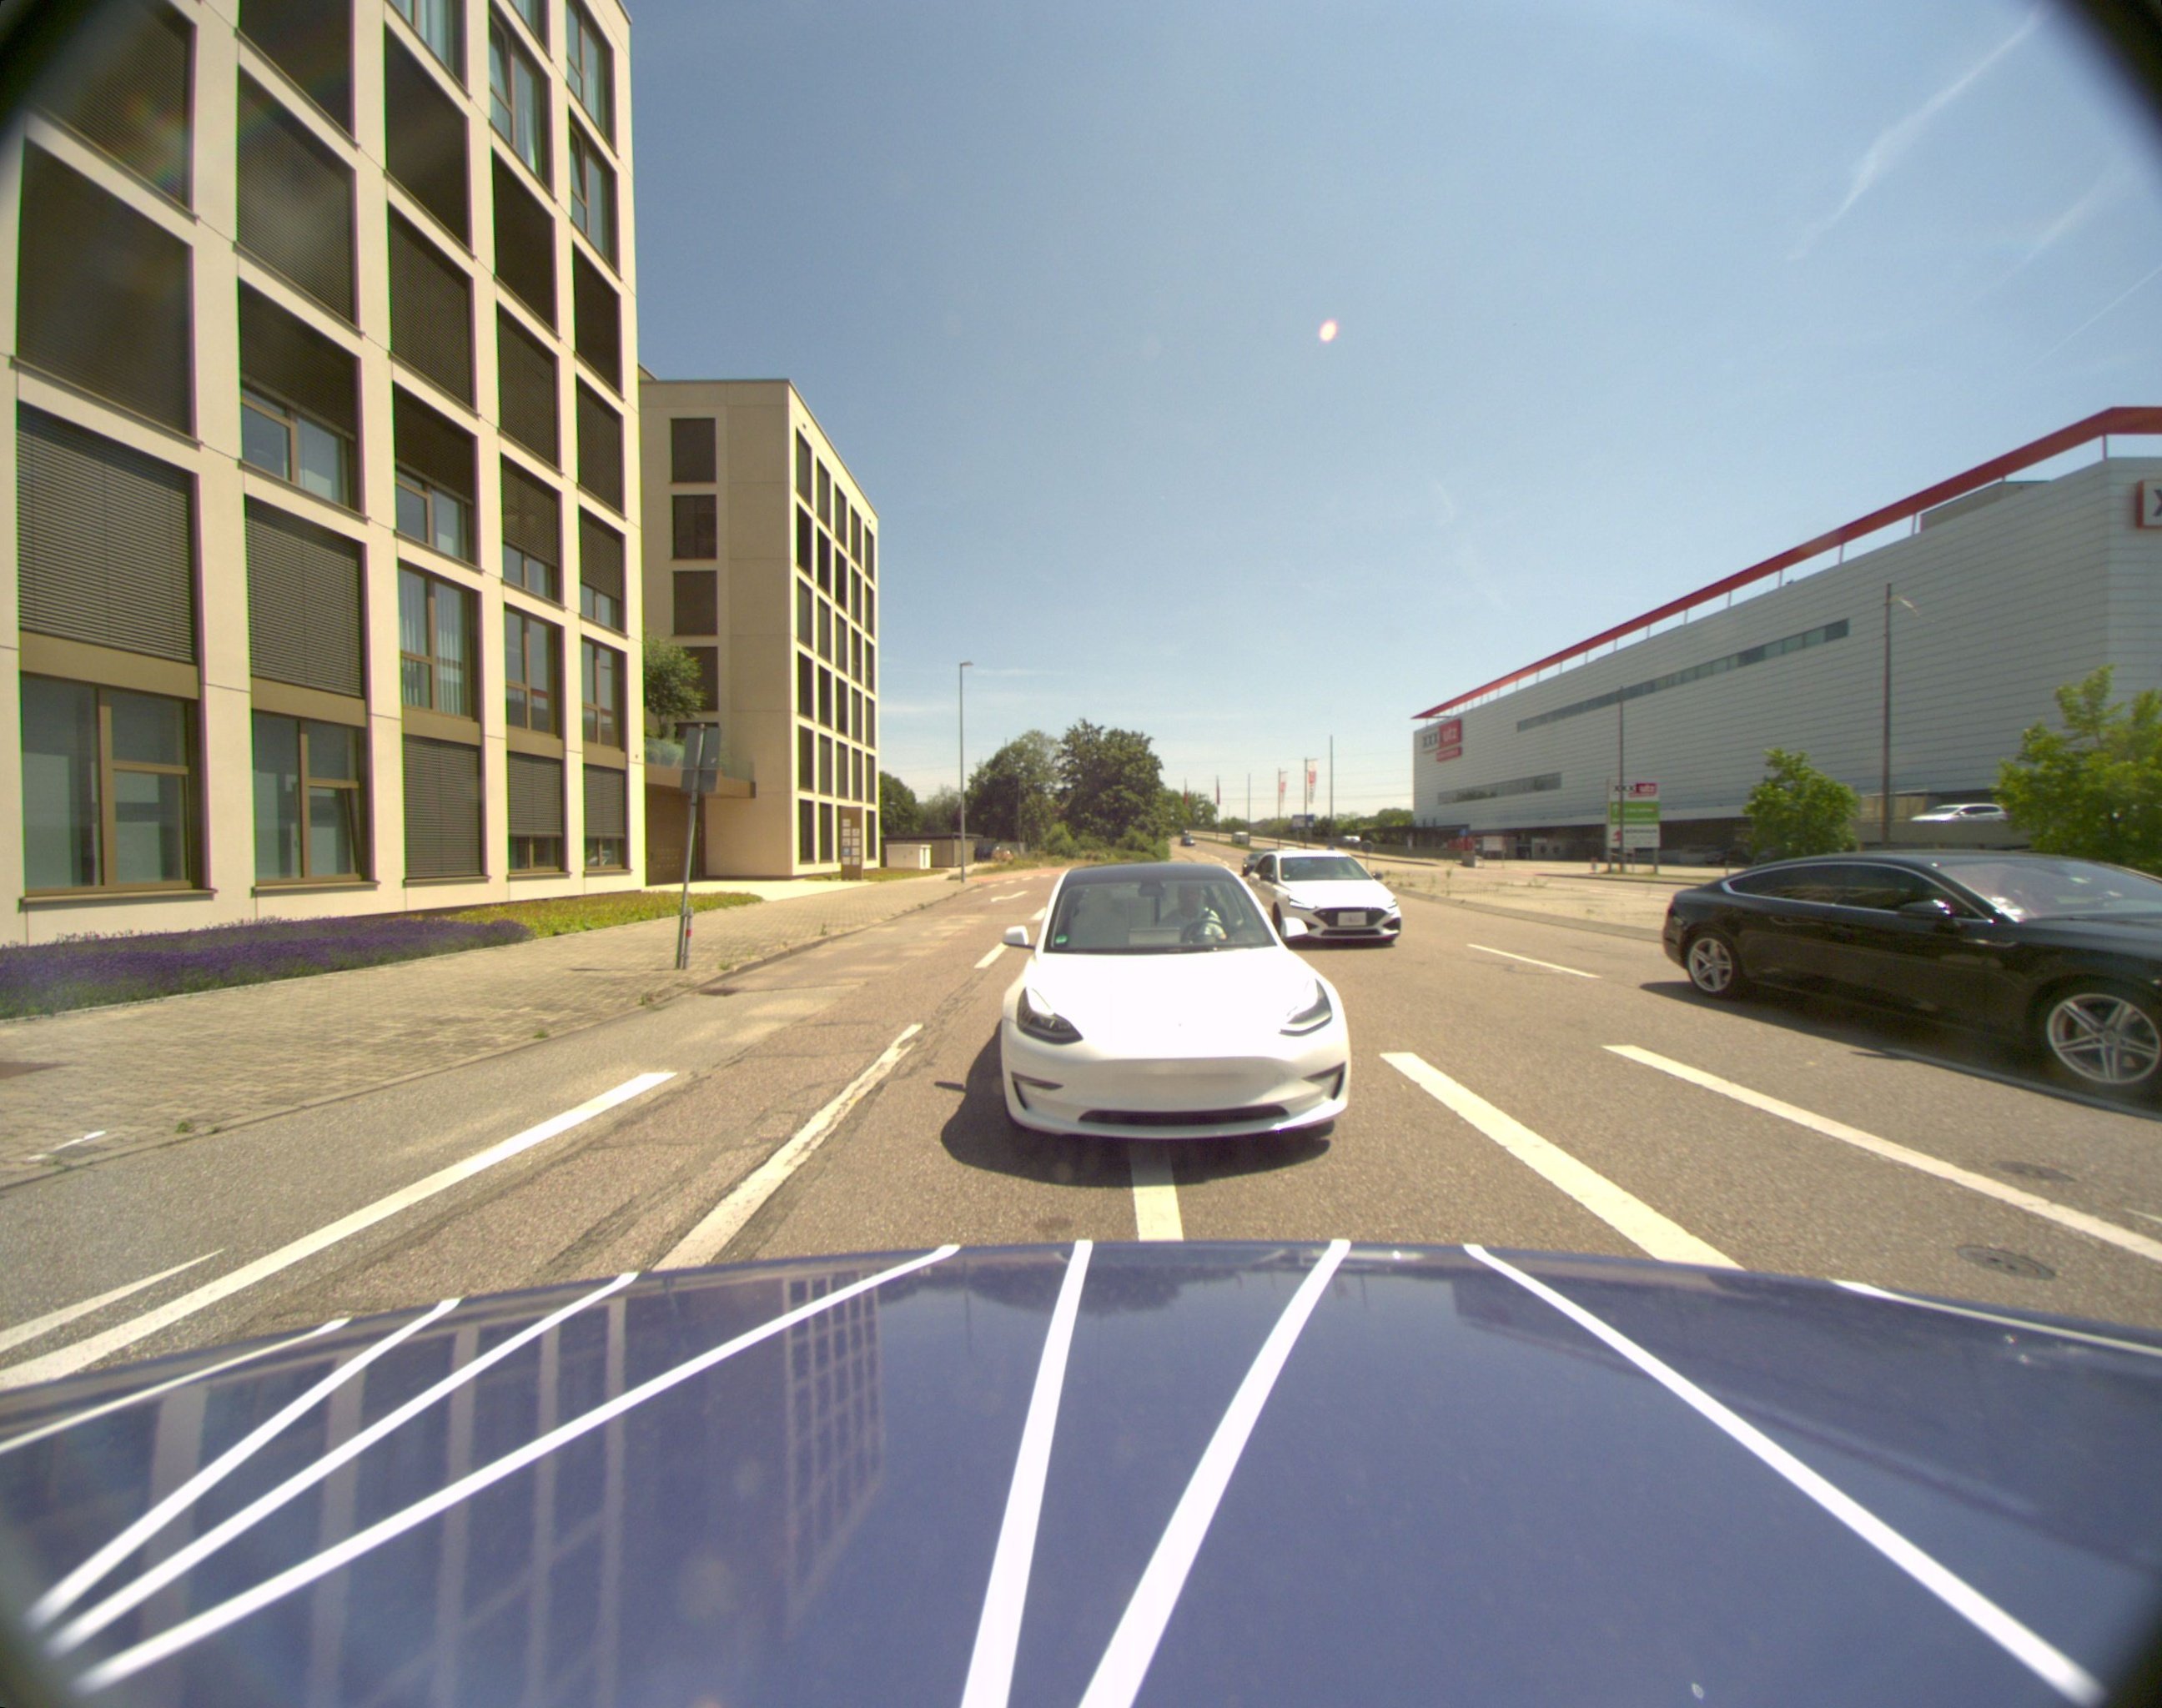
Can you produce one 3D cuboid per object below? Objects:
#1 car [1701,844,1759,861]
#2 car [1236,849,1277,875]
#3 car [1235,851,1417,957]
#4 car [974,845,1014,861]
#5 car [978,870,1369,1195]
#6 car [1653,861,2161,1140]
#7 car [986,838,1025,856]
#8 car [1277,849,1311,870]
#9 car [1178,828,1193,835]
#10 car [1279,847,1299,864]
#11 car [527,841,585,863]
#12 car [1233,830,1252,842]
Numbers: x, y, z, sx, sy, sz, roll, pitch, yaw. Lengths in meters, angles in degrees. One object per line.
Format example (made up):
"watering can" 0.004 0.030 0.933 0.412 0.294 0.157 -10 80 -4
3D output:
"car" 60.935 -0.159 71.394 3.746 1.611 1.912 0 1 1
"car" 10.099 0.429 43.950 1.801 1.369 4.408 0 1 6
"car" 3.908 0.702 12.885 1.735 1.441 4.230 -2 0 1
"car" -9.414 -0.167 82.077 4.005 1.652 1.834 0 1 -23
"car" 0.410 0.919 5.926 1.880 1.417 4.405 -2 0 -1
"car" 6.614 0.790 5.451 1.752 1.382 4.533 -1 0 3
"car" -8.575 -0.775 86.083 4.005 1.942 1.996 0 1 -24
"car" 15.376 0.386 55.024 1.800 1.405 4.409 0 1 9
"car" 21.390 -4.619 155.180 1.862 1.295 3.889 1 1 -10
"car" 19.748 0.113 72.301 1.677 1.566 4.060 -1 1 13
"car" -46.500 -0.188 67.408 1.997 1.841 4.003 0 1 10
"car" 26.960 -3.024 127.063 1.836 1.840 4.838 0 1 -4
